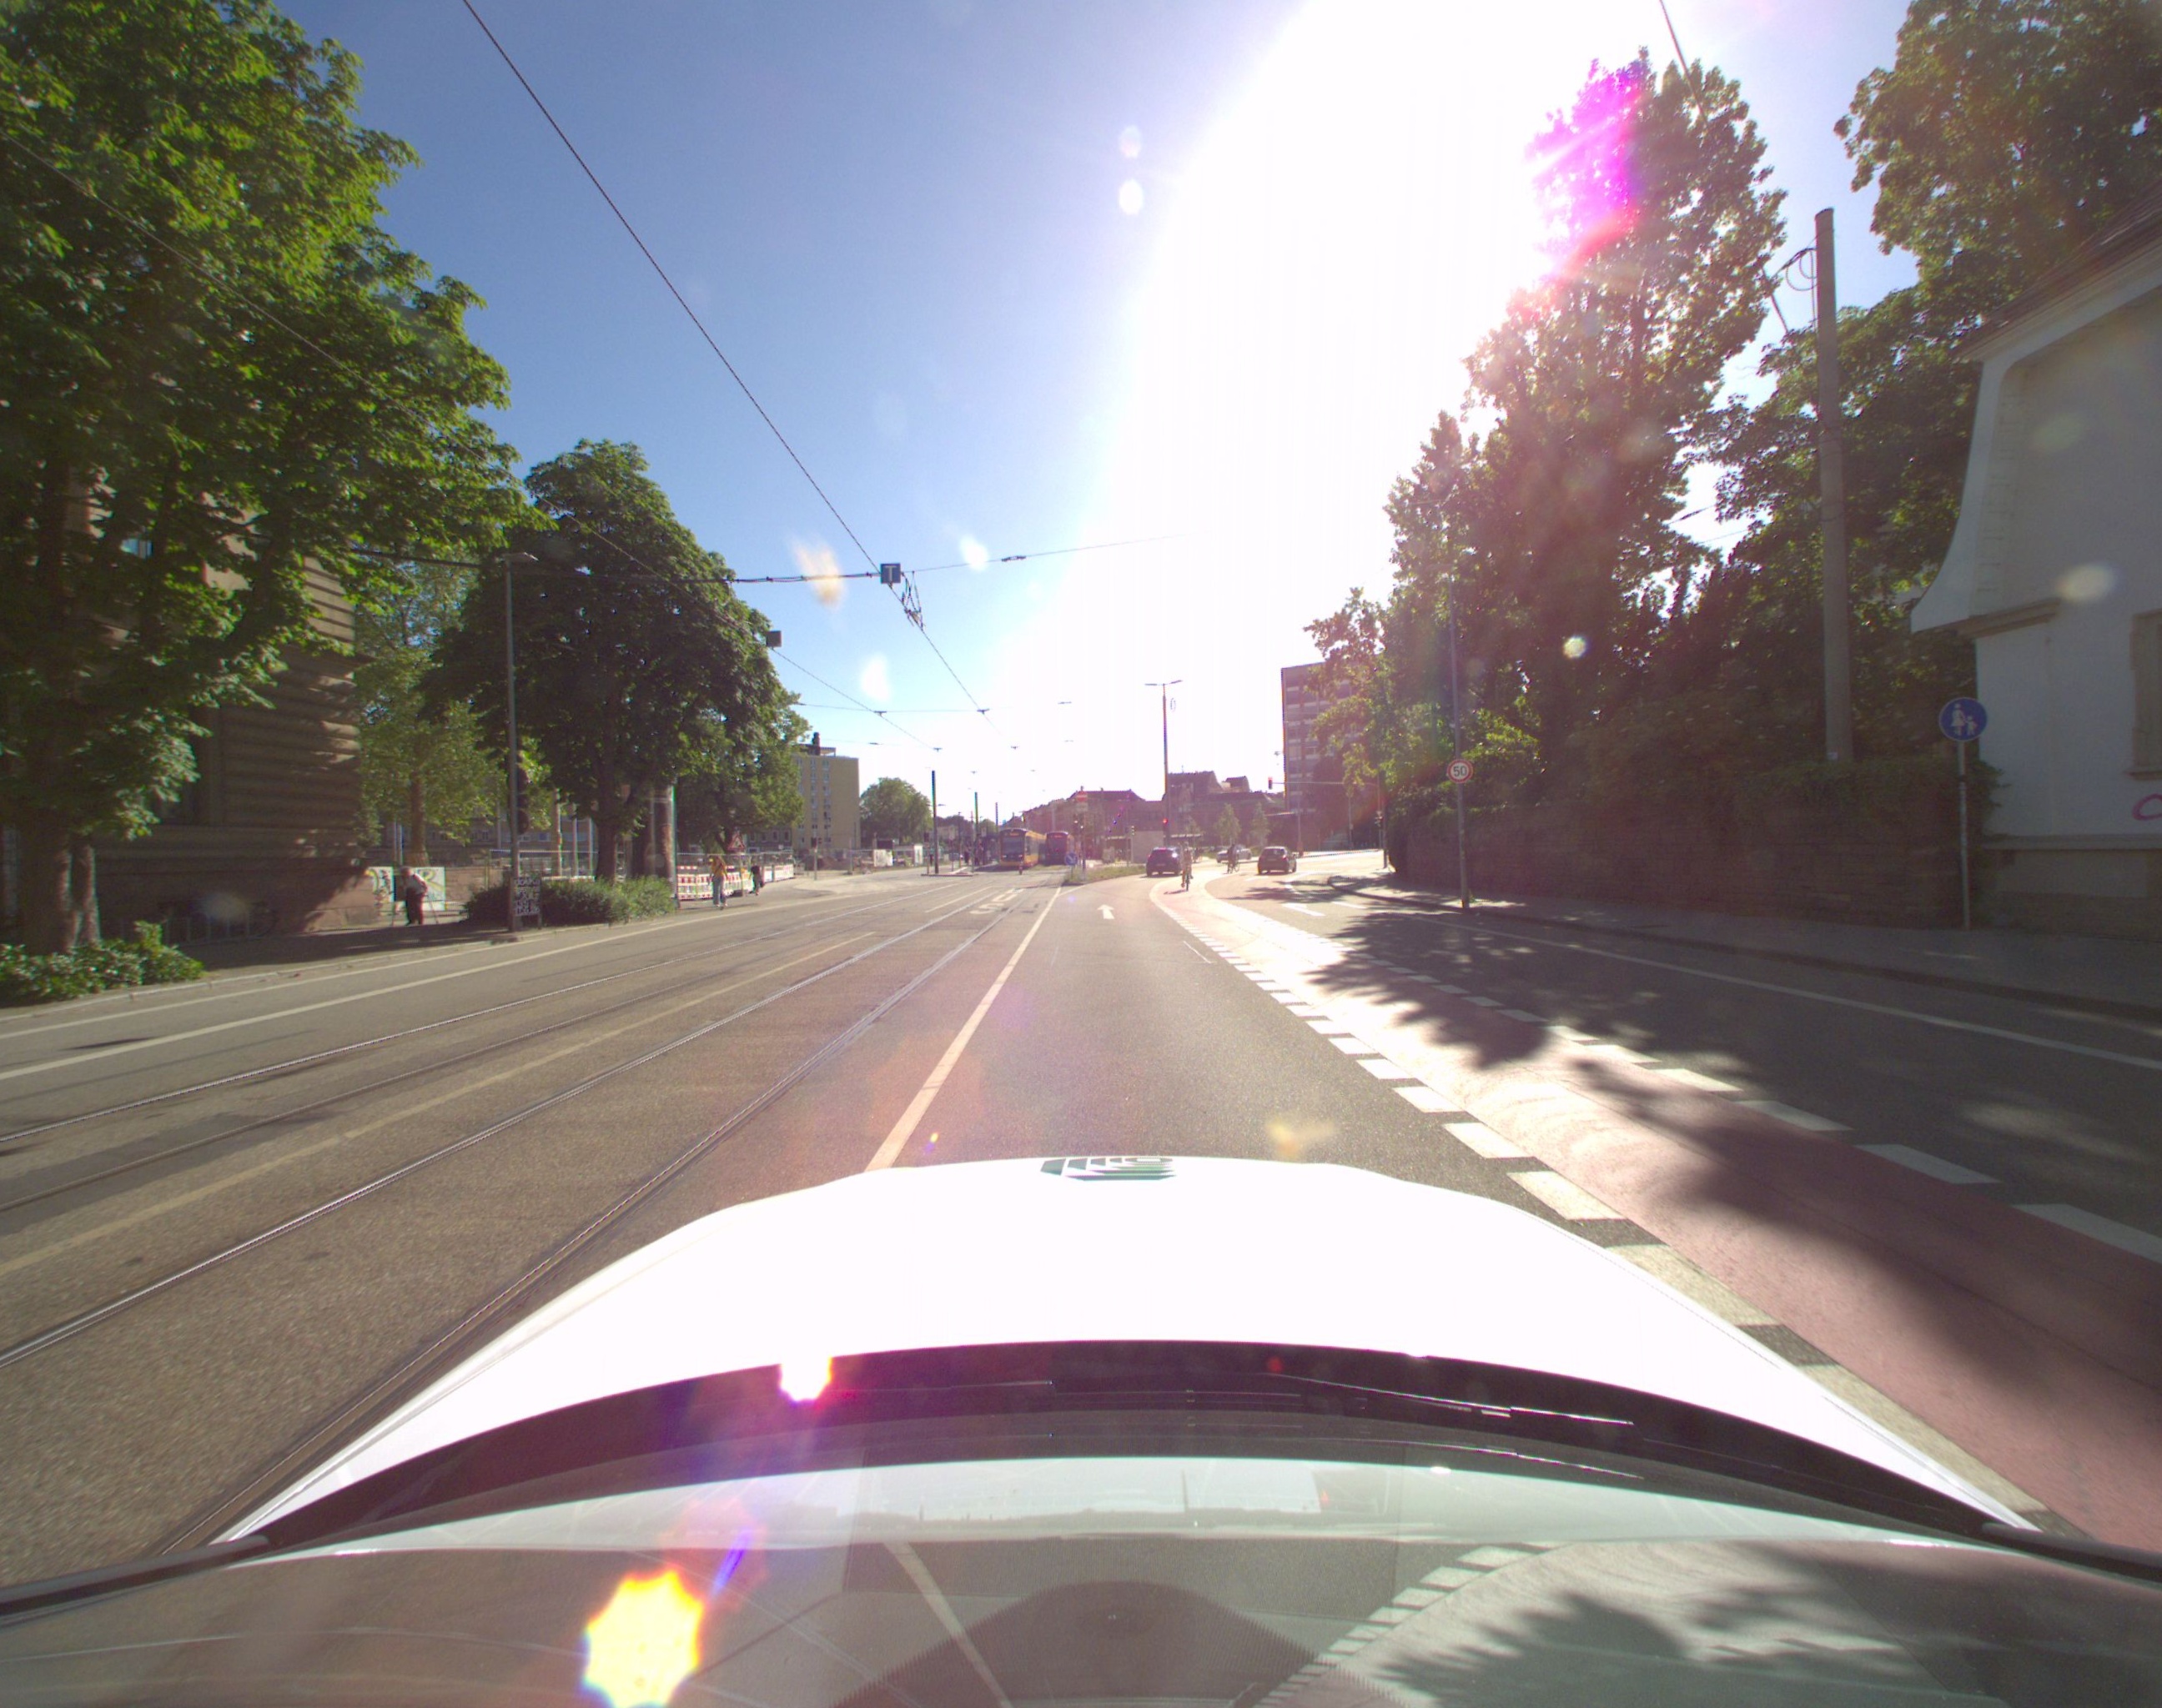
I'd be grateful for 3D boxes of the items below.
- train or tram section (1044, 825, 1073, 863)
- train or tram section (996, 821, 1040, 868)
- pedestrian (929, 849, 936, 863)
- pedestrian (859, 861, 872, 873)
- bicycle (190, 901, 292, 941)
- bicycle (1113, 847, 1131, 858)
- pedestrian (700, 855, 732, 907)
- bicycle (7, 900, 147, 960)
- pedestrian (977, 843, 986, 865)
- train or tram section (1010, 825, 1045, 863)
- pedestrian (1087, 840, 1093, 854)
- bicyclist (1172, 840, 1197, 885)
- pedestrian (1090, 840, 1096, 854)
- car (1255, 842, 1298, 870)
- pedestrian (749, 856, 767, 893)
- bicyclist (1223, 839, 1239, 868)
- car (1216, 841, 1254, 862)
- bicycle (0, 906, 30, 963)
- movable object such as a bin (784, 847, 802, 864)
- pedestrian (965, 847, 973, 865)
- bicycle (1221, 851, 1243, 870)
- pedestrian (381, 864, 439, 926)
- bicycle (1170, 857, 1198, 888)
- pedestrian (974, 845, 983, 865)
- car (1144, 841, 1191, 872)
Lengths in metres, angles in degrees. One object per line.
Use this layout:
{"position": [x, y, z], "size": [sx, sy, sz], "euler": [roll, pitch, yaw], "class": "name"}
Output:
{"position": [-2.286, -1.112, 87.374], "size": [2.733, 3.651, 13.783], "euler": [-2, 1, 0], "class": "train or tram section"}
{"position": [-5.346, -0.877, 71.764], "size": [2.733, 3.651, 13.783], "euler": [-2, 1, 0], "class": "train or tram section"}
{"position": [-17.870, 0.219, 97.938], "size": [0.624, 1.697, 0.662], "euler": [-2, 0, -1], "class": "pedestrian"}
{"position": [-18.373, 1.112, 69.426], "size": [0.894, 1.046, 0.655], "euler": [-2, 0, 1], "class": "pedestrian"}
{"position": [-18.155, 1.438, 17.647], "size": [0.479, 0.724, 1.620], "euler": [-2, 0, 2], "class": "bicycle"}
{"position": [4.414, -0.130, 87.975], "size": [1.929, 1.103, 0.598], "euler": [-2, 1, -3], "class": "bicycle"}
{"position": [-12.346, 0.908, 27.566], "size": [0.634, 1.697, 0.819], "euler": [-3, 0, -2], "class": "pedestrian"}
{"position": [-18.127, 1.351, 14.764], "size": [0.479, 0.917, 1.620], "euler": [-2, 0, 2], "class": "bicycle"}
{"position": [-8.606, -0.019, 70.499], "size": [0.624, 1.827, 0.662], "euler": [-2, 0, -1], "class": "pedestrian"}
{"position": [-5.431, -1.059, 84.931], "size": [2.733, 3.651, 12.541], "euler": [-2, 1, 0], "class": "train or tram section"}
{"position": [1.245, -0.947, 112.357], "size": [0.660, 1.953, 0.626], "euler": [-2, 0, -12], "class": "pedestrian"}
{"position": [3.982, 0.305, 31.230], "size": [0.699, 1.675, 1.107], "euler": [0, 1, 20], "class": "bicyclist"}
{"position": [1.624, -0.963, 114.377], "size": [0.660, 1.953, 0.626], "euler": [-2, 0, -12], "class": "pedestrian"}
{"position": [11.156, 0.084, 46.388], "size": [1.773, 1.511, 3.733], "euler": [0, 1, 23], "class": "car"}
{"position": [-14.808, 0.928, 37.334], "size": [0.619, 1.697, 0.676], "euler": [-2, 0, -13], "class": "pedestrian"}
{"position": [8.801, -0.047, 47.768], "size": [0.698, 1.700, 0.993], "euler": [1, 2, 25], "class": "bicyclist"}
{"position": [12.747, -0.207, 67.412], "size": [1.685, 1.643, 3.736], "euler": [0, 1, 35], "class": "car"}
{"position": [-18.122, 1.344, 13.016], "size": [0.479, 0.917, 1.620], "euler": [-2, 0, 2], "class": "bicycle"}
{"position": [-36.495, 0.157, 103.081], "size": [1.926, 2.013, 3.970], "euler": [-2, 0, -22], "class": "movable object such as a bin"}
{"position": [-11.044, 0.194, 80.301], "size": [0.624, 1.827, 0.662], "euler": [-2, 0, -1], "class": "pedestrian"}
{"position": [8.891, 0.353, 47.971], "size": [0.698, 1.055, 2.327], "euler": [1, 2, 25], "class": "bicycle"}
{"position": [-17.044, 1.032, 20.721], "size": [0.924, 1.504, 0.700], "euler": [-2, 0, -22], "class": "pedestrian"}
{"position": [3.981, 0.699, 31.229], "size": [0.699, 1.104, 1.726], "euler": [0, 1, 20], "class": "bicycle"}
{"position": [-9.496, 0.110, 75.467], "size": [0.624, 1.827, 0.662], "euler": [-2, 0, -1], "class": "pedestrian"}
{"position": [4.846, 0.120, 45.168], "size": [1.774, 1.604, 3.731], "euler": [0, 1, 19], "class": "car"}
